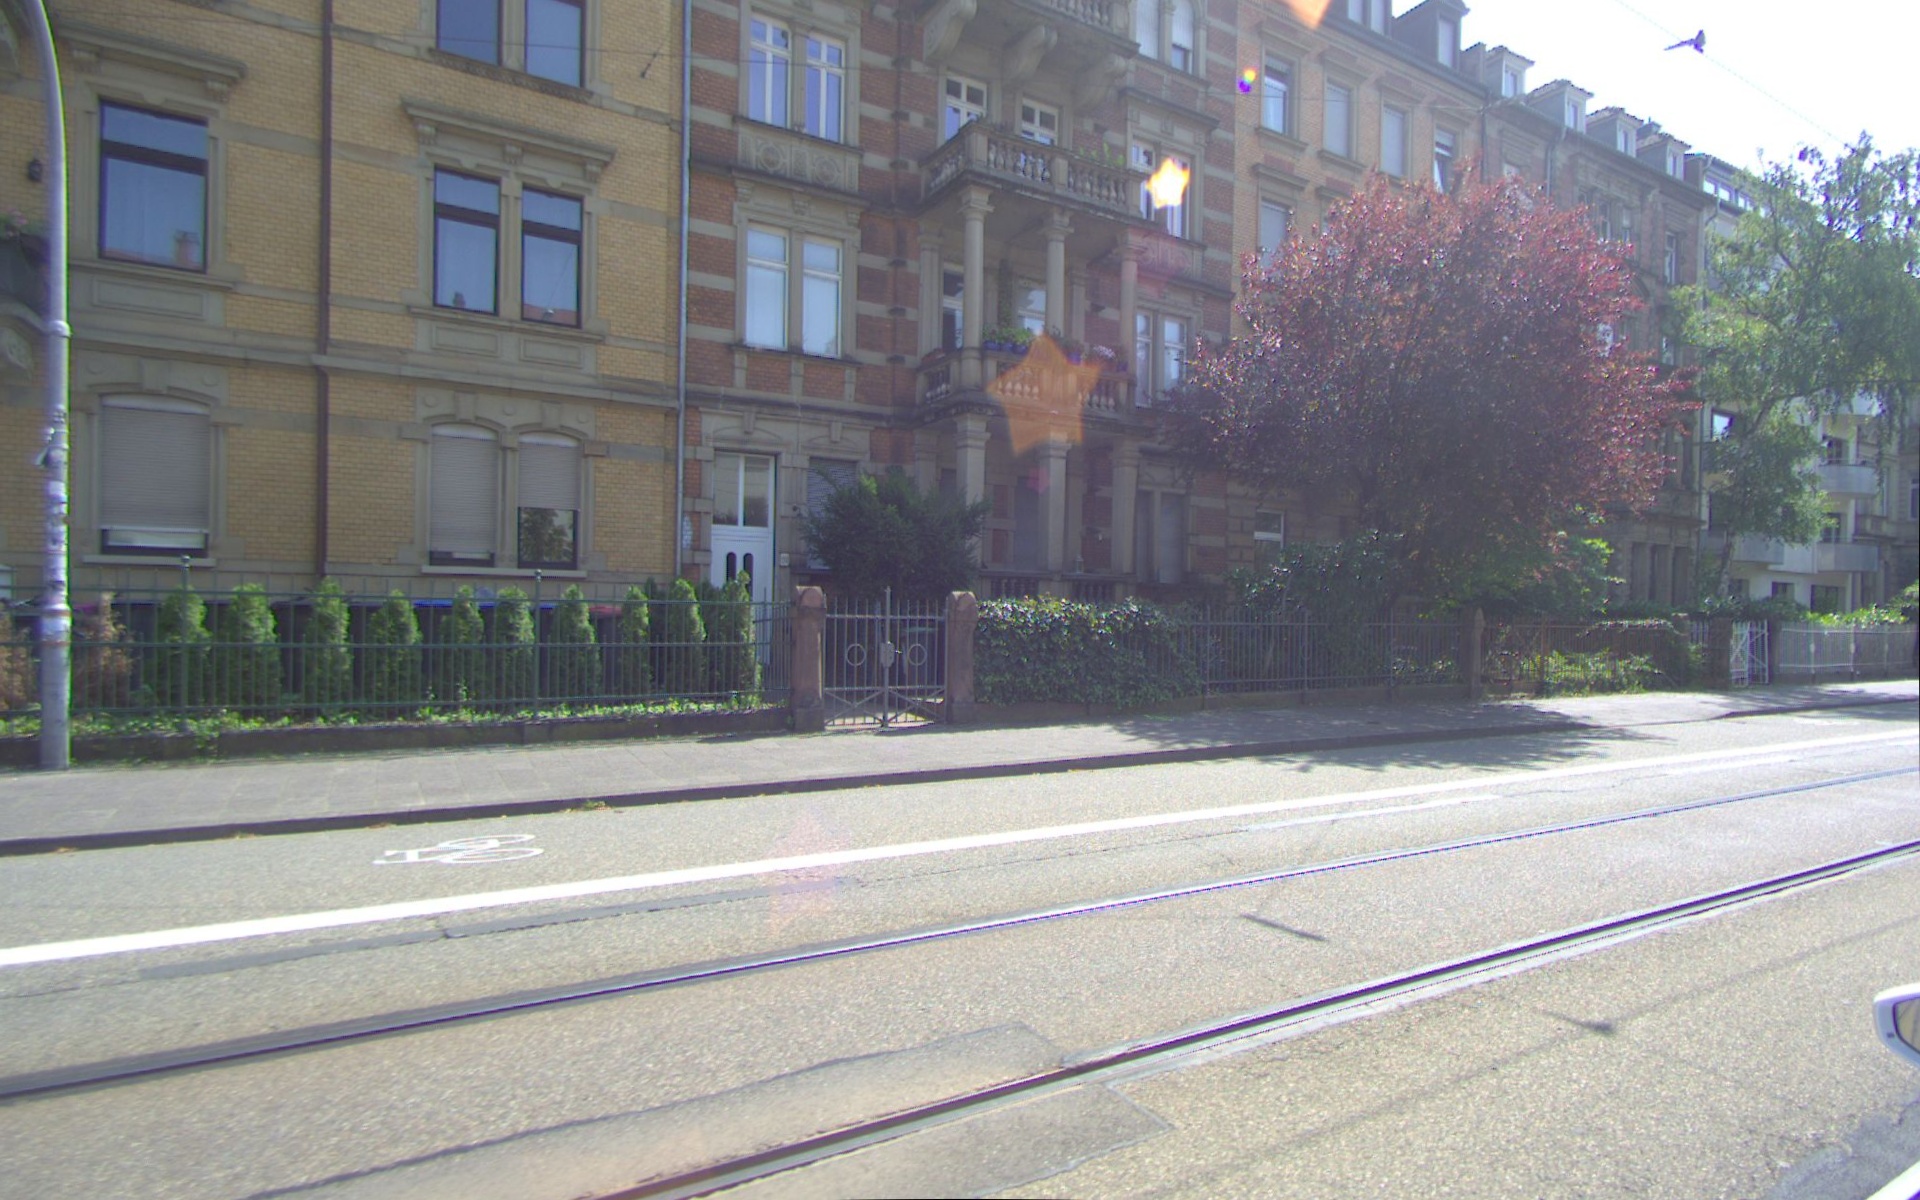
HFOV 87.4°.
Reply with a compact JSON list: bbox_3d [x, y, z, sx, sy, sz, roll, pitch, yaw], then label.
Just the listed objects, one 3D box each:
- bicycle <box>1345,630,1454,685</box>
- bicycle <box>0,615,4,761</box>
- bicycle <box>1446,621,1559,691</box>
[{"bbox_3d":[8.579,1.096,19.651,1.791,0.923,0.713,3,1,40],"label":"bicycle"},{"bbox_3d":[-7.890,0.661,7.120,1.552,1.113,0.388,1,0,-33],"label":"bicycle"},{"bbox_3d":[10.458,1.054,19.429,0.707,1.198,1.805,2,1,-28],"label":"bicycle"}]
